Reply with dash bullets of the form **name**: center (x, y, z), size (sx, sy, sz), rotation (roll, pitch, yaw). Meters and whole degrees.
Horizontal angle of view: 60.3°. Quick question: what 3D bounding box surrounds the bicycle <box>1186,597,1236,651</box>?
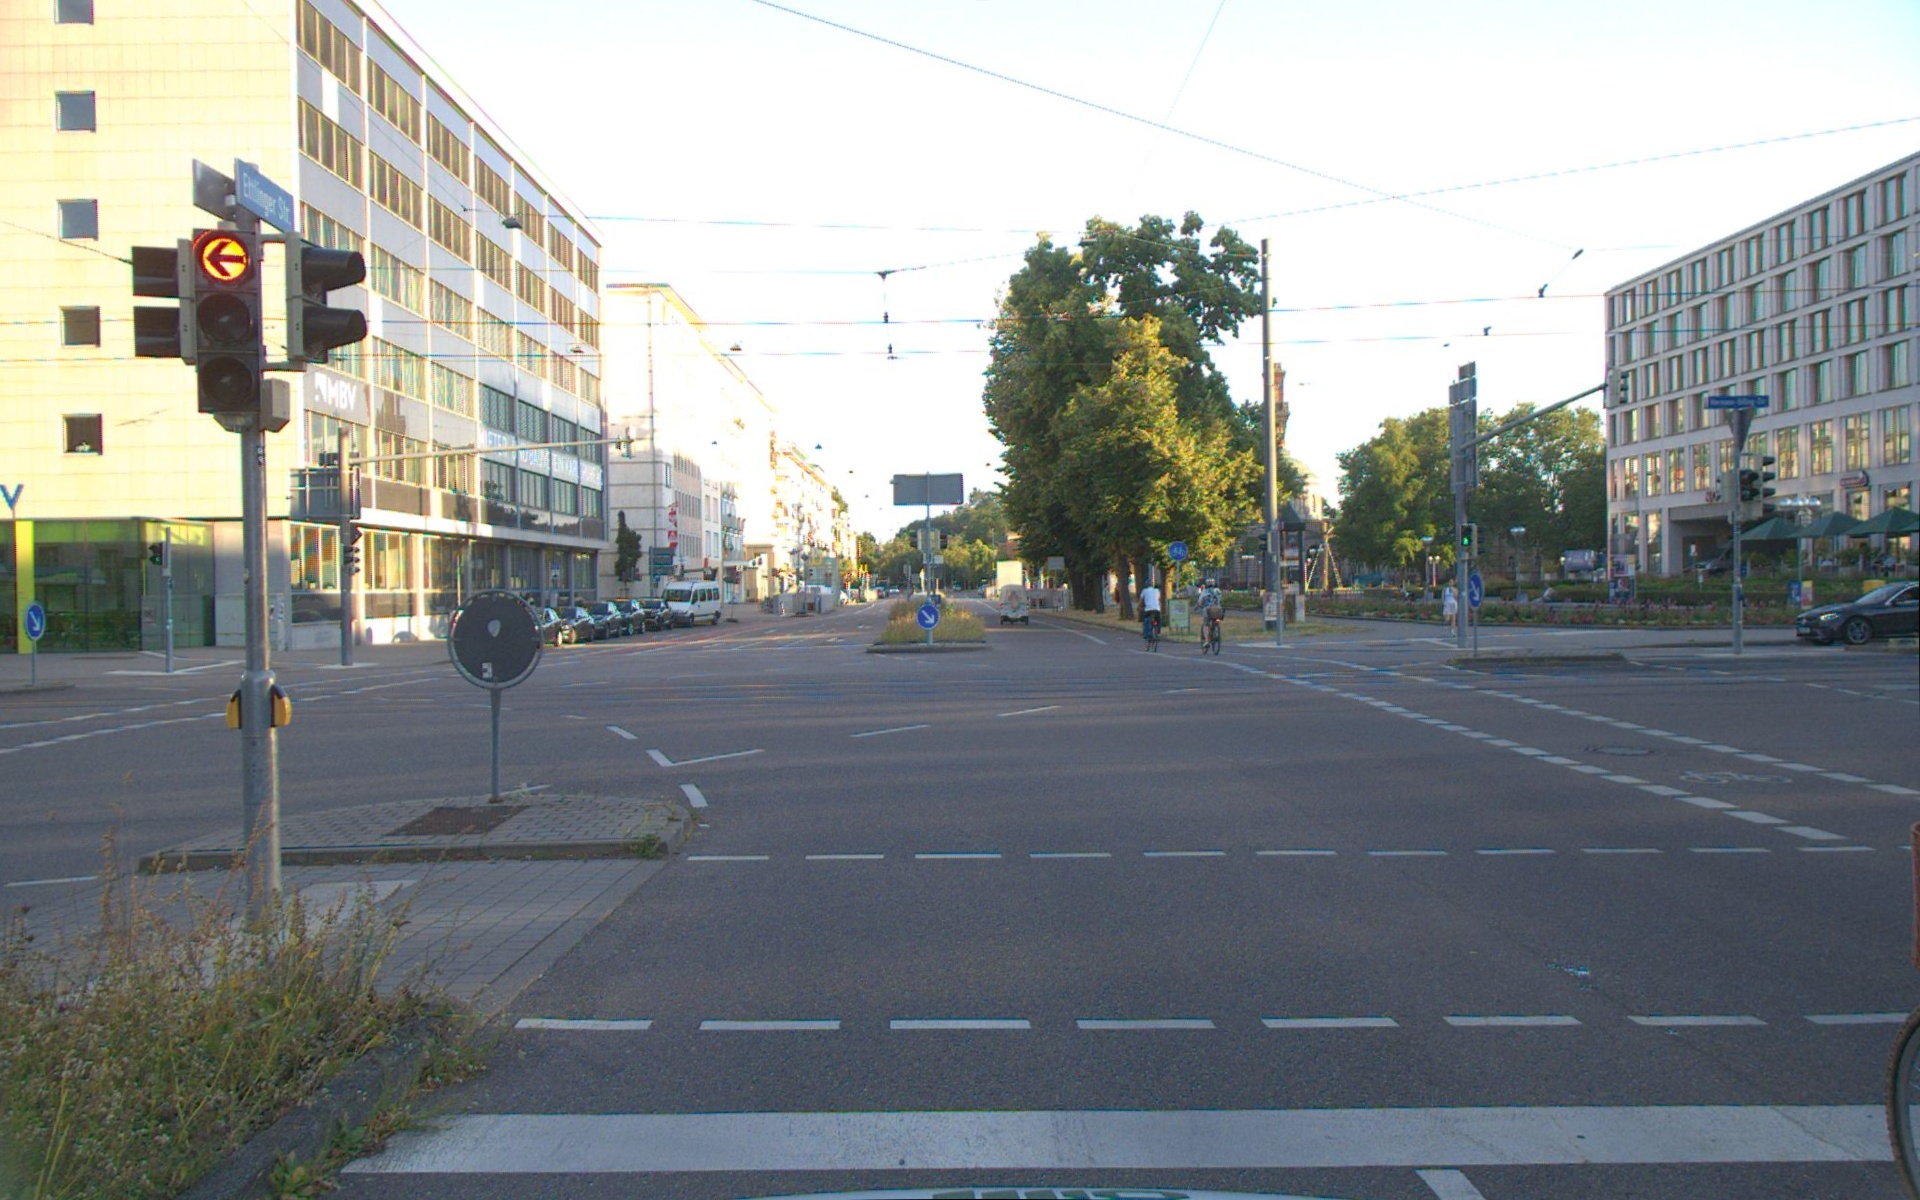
- **bicycle**: center (5.766, 0.534, 38.115), size (0.731, 1.164, 2.505), rotation (-1, 0, -1)

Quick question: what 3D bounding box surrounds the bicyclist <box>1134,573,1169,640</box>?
- **bicyclist**: center (4.881, 0.158, 42.190), size (0.731, 1.692, 0.873), rotation (-1, 0, -1)

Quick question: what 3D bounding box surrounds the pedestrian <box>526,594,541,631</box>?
- **pedestrian**: center (-20.049, 0.595, 77.776), size (0.540, 1.708, 0.500), rotation (-1, 0, -1)

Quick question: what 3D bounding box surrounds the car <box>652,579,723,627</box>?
- **car**: center (-14.938, 0.143, 91.003), size (1.958, 2.521, 5.873), rotation (-1, 0, 9)

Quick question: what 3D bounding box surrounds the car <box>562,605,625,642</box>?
- **car**: center (-16.134, 1.010, 72.993), size (1.882, 1.489, 3.999), rotation (-1, 0, -1)

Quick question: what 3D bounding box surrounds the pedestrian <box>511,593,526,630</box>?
- **pedestrian**: center (-20.801, 0.547, 77.905), size (0.540, 1.708, 0.500), rotation (-1, 0, -1)

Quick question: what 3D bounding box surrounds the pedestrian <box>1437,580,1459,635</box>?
- **pedestrian**: center (14.137, 0.208, 47.912), size (0.480, 1.566, 0.408), rotation (-1, 0, -1)

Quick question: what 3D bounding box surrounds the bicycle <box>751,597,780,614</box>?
- **bicycle**: center (-15.149, 0.402, 128.664), size (2.161, 1.258, 0.839), rotation (-1, 0, -2)

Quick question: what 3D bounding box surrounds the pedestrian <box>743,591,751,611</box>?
- **pedestrian**: center (-21.246, 0.091, 164.655), size (0.666, 2.049, 0.545), rotation (-2, 0, -1)

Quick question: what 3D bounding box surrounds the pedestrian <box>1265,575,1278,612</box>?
- **pedestrian**: center (14.497, -0.295, 76.968), size (0.451, 1.685, 0.566), rotation (-1, 0, -1)

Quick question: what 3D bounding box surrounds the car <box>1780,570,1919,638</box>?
- **car**: center (22.657, 0.065, 39.890), size (4.724, 1.542, 2.000), rotation (-1, 0, 1)

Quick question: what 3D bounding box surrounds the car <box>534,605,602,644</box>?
- **car**: center (-16.115, 0.990, 68.178), size (1.882, 1.489, 3.999), rotation (-1, 0, -1)

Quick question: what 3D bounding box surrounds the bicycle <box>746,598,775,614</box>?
- **bicycle**: center (-15.258, 0.438, 126.631), size (2.161, 1.131, 0.689), rotation (-1, 0, -2)

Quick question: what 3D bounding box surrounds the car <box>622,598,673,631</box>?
- **car**: center (-15.956, 0.731, 84.528), size (1.882, 1.595, 3.999), rotation (-1, 0, -1)

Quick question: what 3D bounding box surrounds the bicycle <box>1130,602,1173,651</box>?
- **bicycle**: center (4.889, 0.657, 42.339), size (0.731, 1.164, 2.505), rotation (-1, 0, -1)

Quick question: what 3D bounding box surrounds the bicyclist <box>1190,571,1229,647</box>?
- **bicyclist**: center (5.755, 0.198, 38.122), size (0.731, 1.720, 0.799), rotation (-1, 0, -1)

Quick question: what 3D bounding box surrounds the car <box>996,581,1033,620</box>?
- **car**: center (2.462, 0.012, 75.434), size (1.379, 1.670, 3.998), rotation (-1, 0, -2)

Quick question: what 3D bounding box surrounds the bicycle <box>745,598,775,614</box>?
- **bicycle**: center (-15.160, 0.455, 125.243), size (2.161, 1.131, 0.618), rotation (-1, 0, -3)

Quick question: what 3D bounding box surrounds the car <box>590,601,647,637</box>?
- **car**: center (-16.130, 0.880, 78.296), size (1.882, 1.595, 3.999), rotation (-1, 0, -1)

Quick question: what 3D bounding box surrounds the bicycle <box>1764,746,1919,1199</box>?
- **bicycle**: center (2.185, 0.922, 2.851), size (0.599, 1.152, 2.004), rotation (1, 0, -1)

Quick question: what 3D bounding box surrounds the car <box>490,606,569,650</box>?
- **car**: center (-16.006, 1.030, 61.683), size (1.882, 1.489, 4.102), rotation (-1, 0, -1)
